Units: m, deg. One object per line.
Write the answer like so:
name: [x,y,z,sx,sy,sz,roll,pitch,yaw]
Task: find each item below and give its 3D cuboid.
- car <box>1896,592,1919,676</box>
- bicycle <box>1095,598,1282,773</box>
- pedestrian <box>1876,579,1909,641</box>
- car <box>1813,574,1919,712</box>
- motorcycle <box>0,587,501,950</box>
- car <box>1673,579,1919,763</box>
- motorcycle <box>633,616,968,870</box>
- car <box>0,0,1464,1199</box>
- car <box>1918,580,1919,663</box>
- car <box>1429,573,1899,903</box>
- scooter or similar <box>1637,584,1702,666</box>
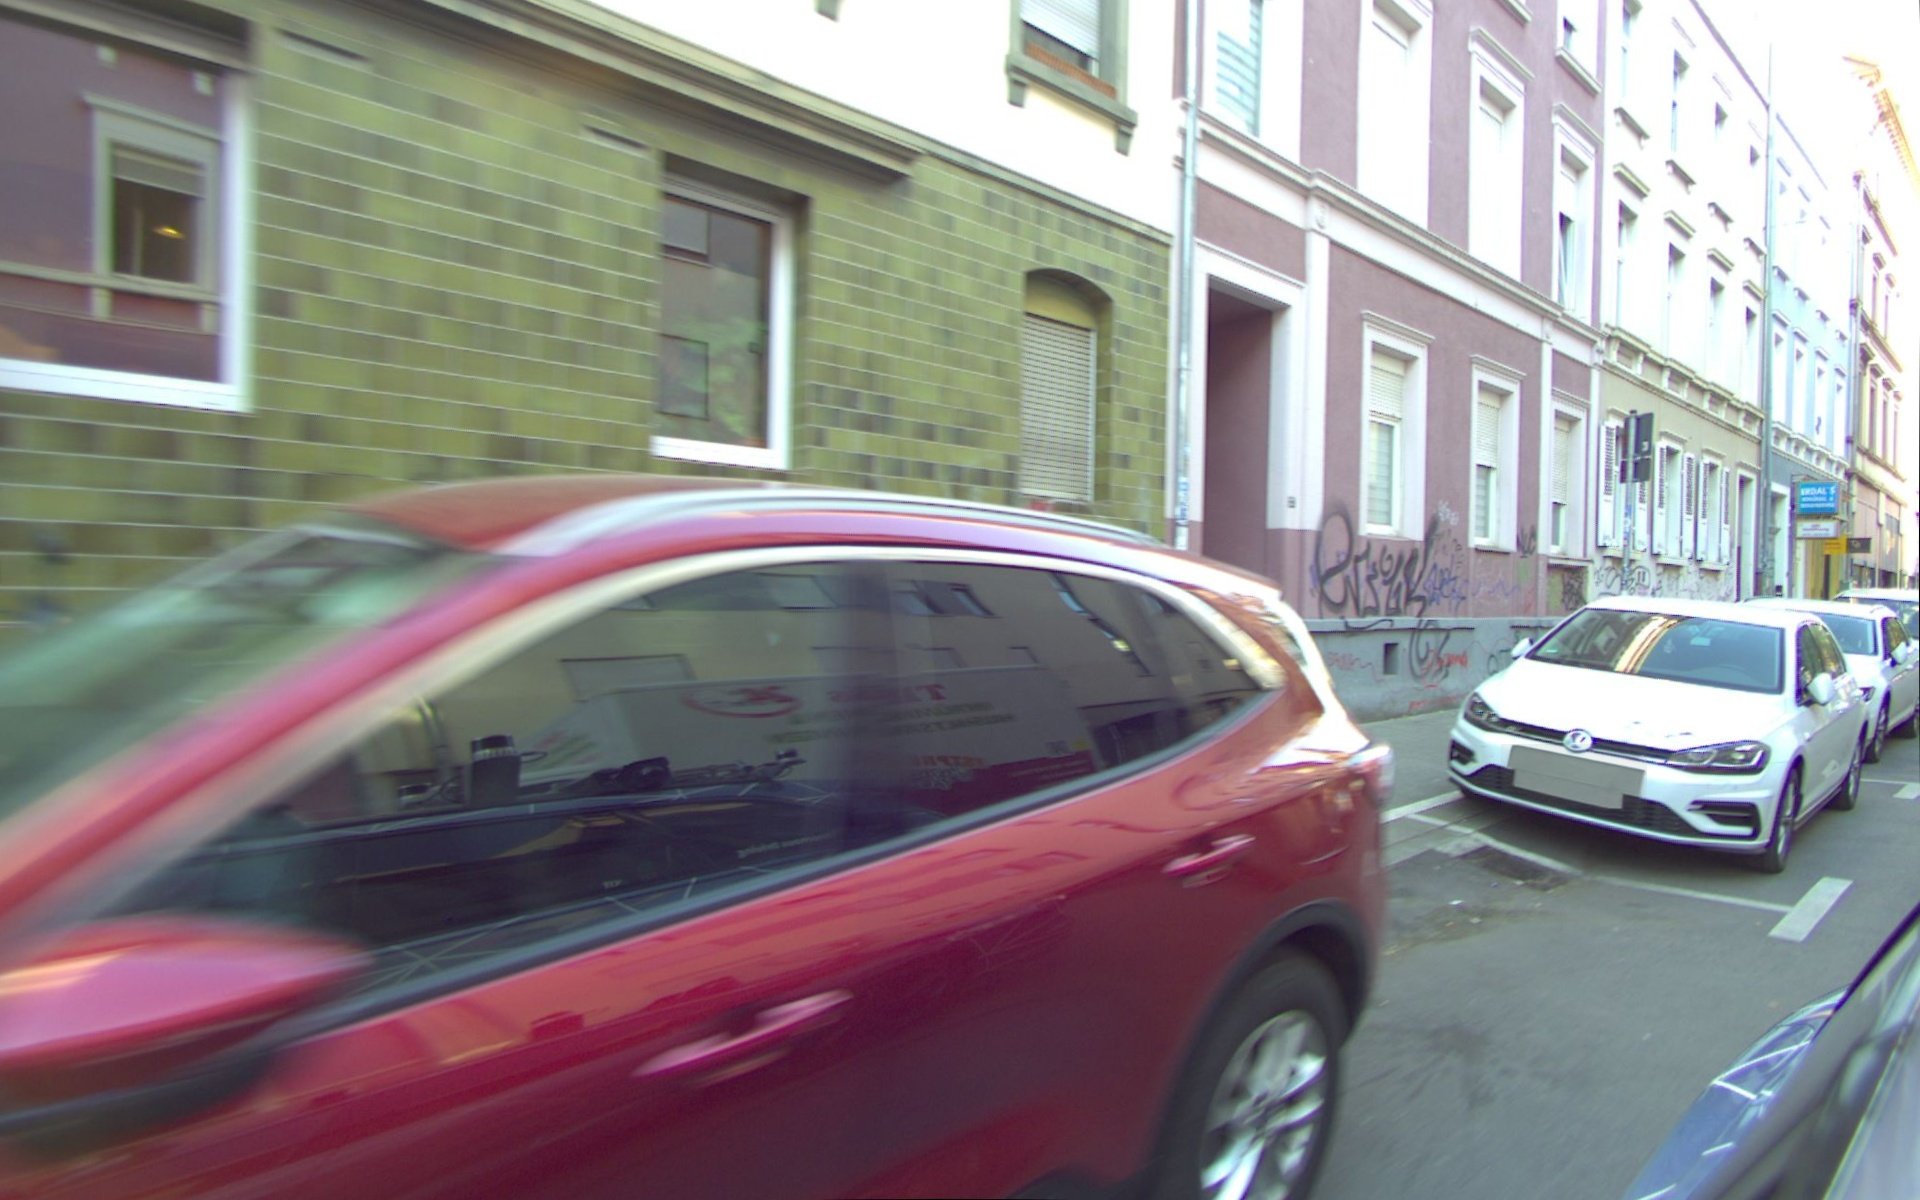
car: [19.169,0.623,19.432,3.552,1.530,1.554,-1,1,-44]
bicycle: [1.768,0.584,7.695,1.656,1.188,0.522,0,0,-41]
pedestrian: [26.826,0.290,29.130,0.627,1.762,0.650,0,0,37]
car: [13.242,0.523,14.115,3.497,1.733,1.559,-1,0,-41]
motorcycle: [-2.729,0.520,3.694,1.845,1.108,0.502,0,4,-41]
car: [9.562,0.604,11.171,4.549,1.562,1.700,-1,4,-41]
motorcycle: [-0.808,0.679,5.484,1.745,1.108,0.559,0,4,-41]
car: [-0.995,0.279,1.848,4.290,1.727,1.922,0,2,-41]
car: [23.056,0.456,22.714,4.240,1.816,1.902,-1,1,-41]
car: [4.973,0.650,6.929,3.976,1.562,1.690,-1,3,-41]
scooter or similar: [11.012,0.361,15.696,1.345,1.196,0.451,0,5,-41]
